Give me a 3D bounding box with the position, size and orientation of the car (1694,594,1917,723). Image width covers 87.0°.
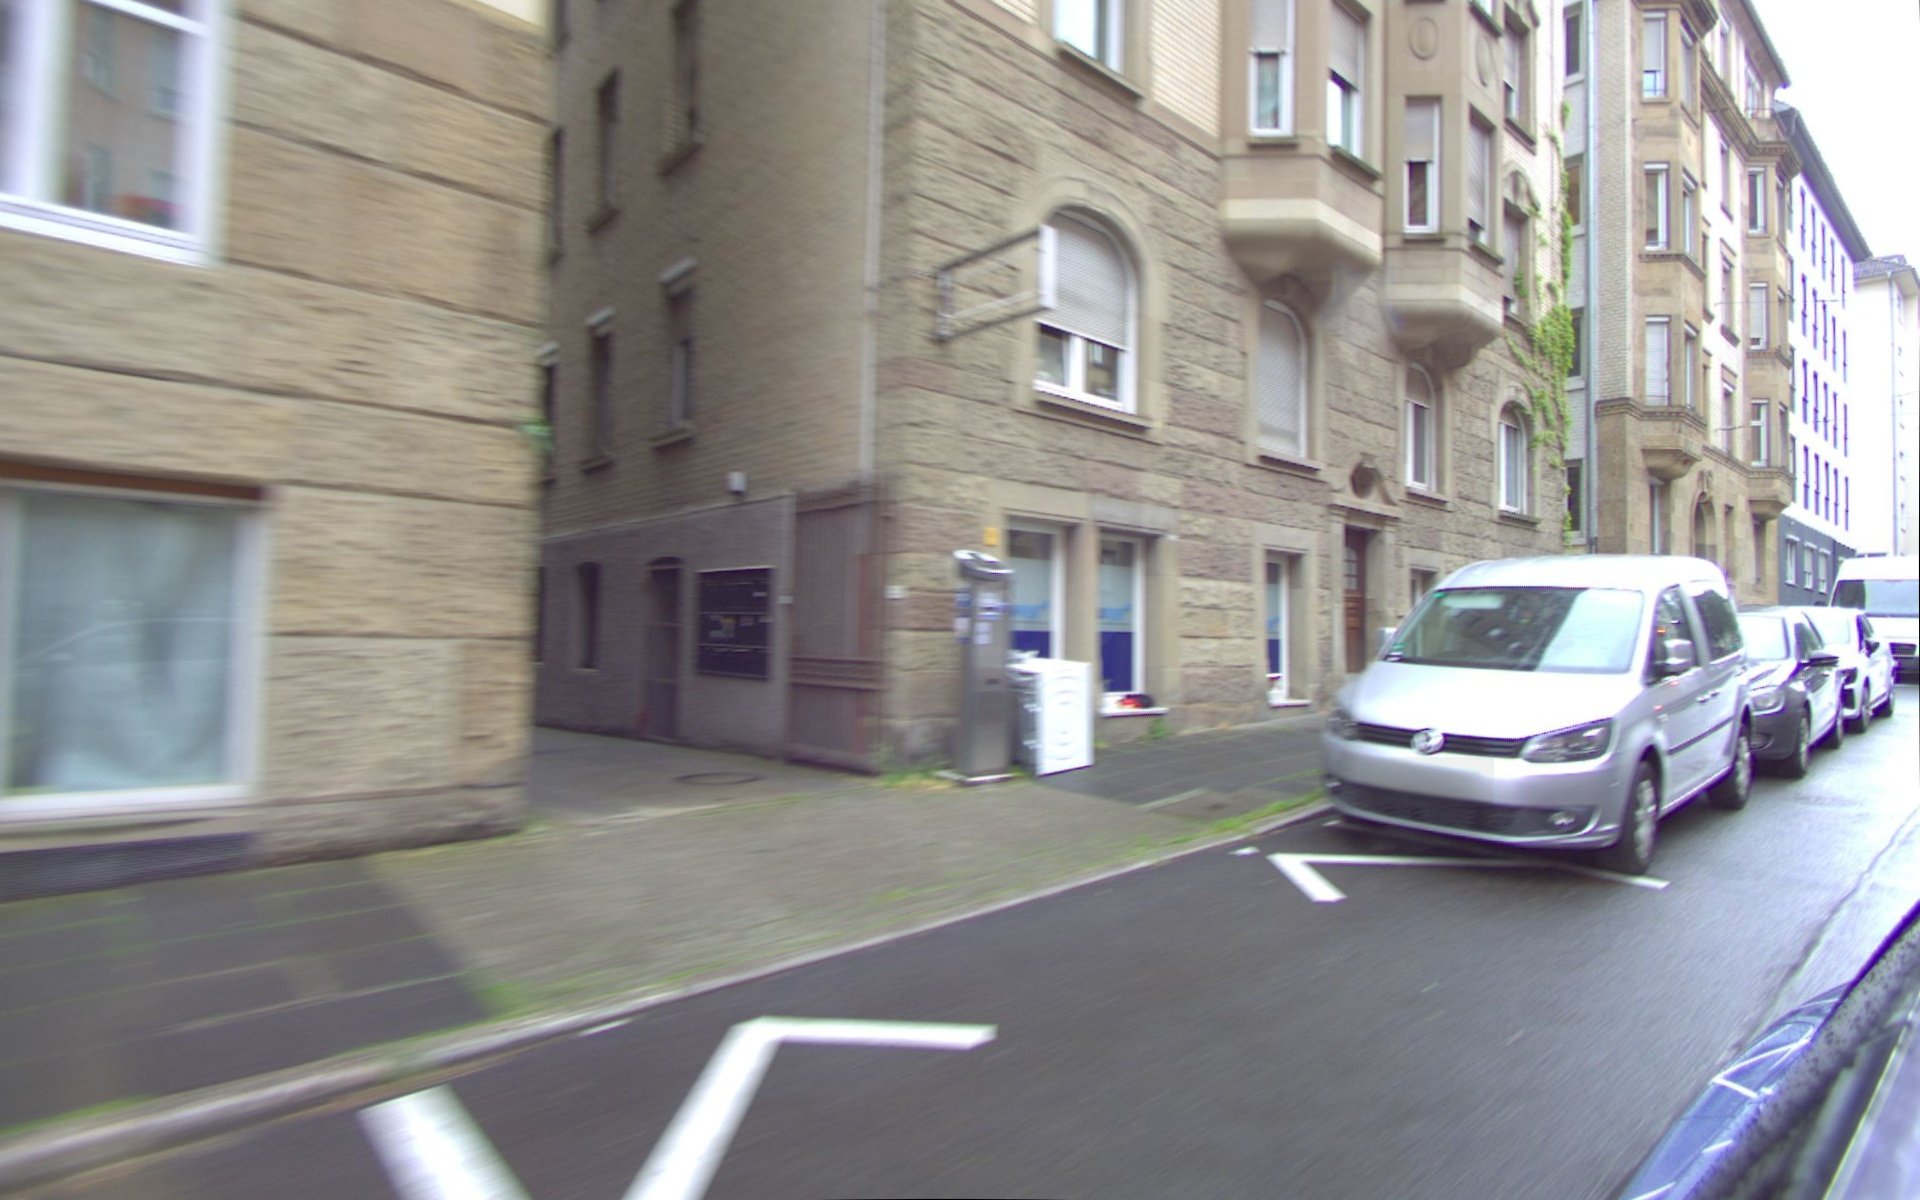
[{"bbox_3d":[11.035,0.664,13.120,3.931,1.429,1.678,0,-1,-42],"label":"car"}]

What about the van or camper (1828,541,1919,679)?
[{"bbox_3d":[19.454,0.145,20.451,6.012,2.500,2.067,-1,0,-41],"label":"van or camper"}]

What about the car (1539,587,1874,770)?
[{"bbox_3d":[7.607,0.613,10.183,3.932,1.459,1.996,-1,0,-42],"label":"car"}]

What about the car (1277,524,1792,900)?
[{"bbox_3d":[4.126,0.534,6.941,4.284,1.799,1.777,0,0,-41],"label":"car"}]

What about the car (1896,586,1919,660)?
[{"bbox_3d":[25.629,0.546,26.063,4.404,1.831,1.771,0,-1,-41],"label":"car"}]
